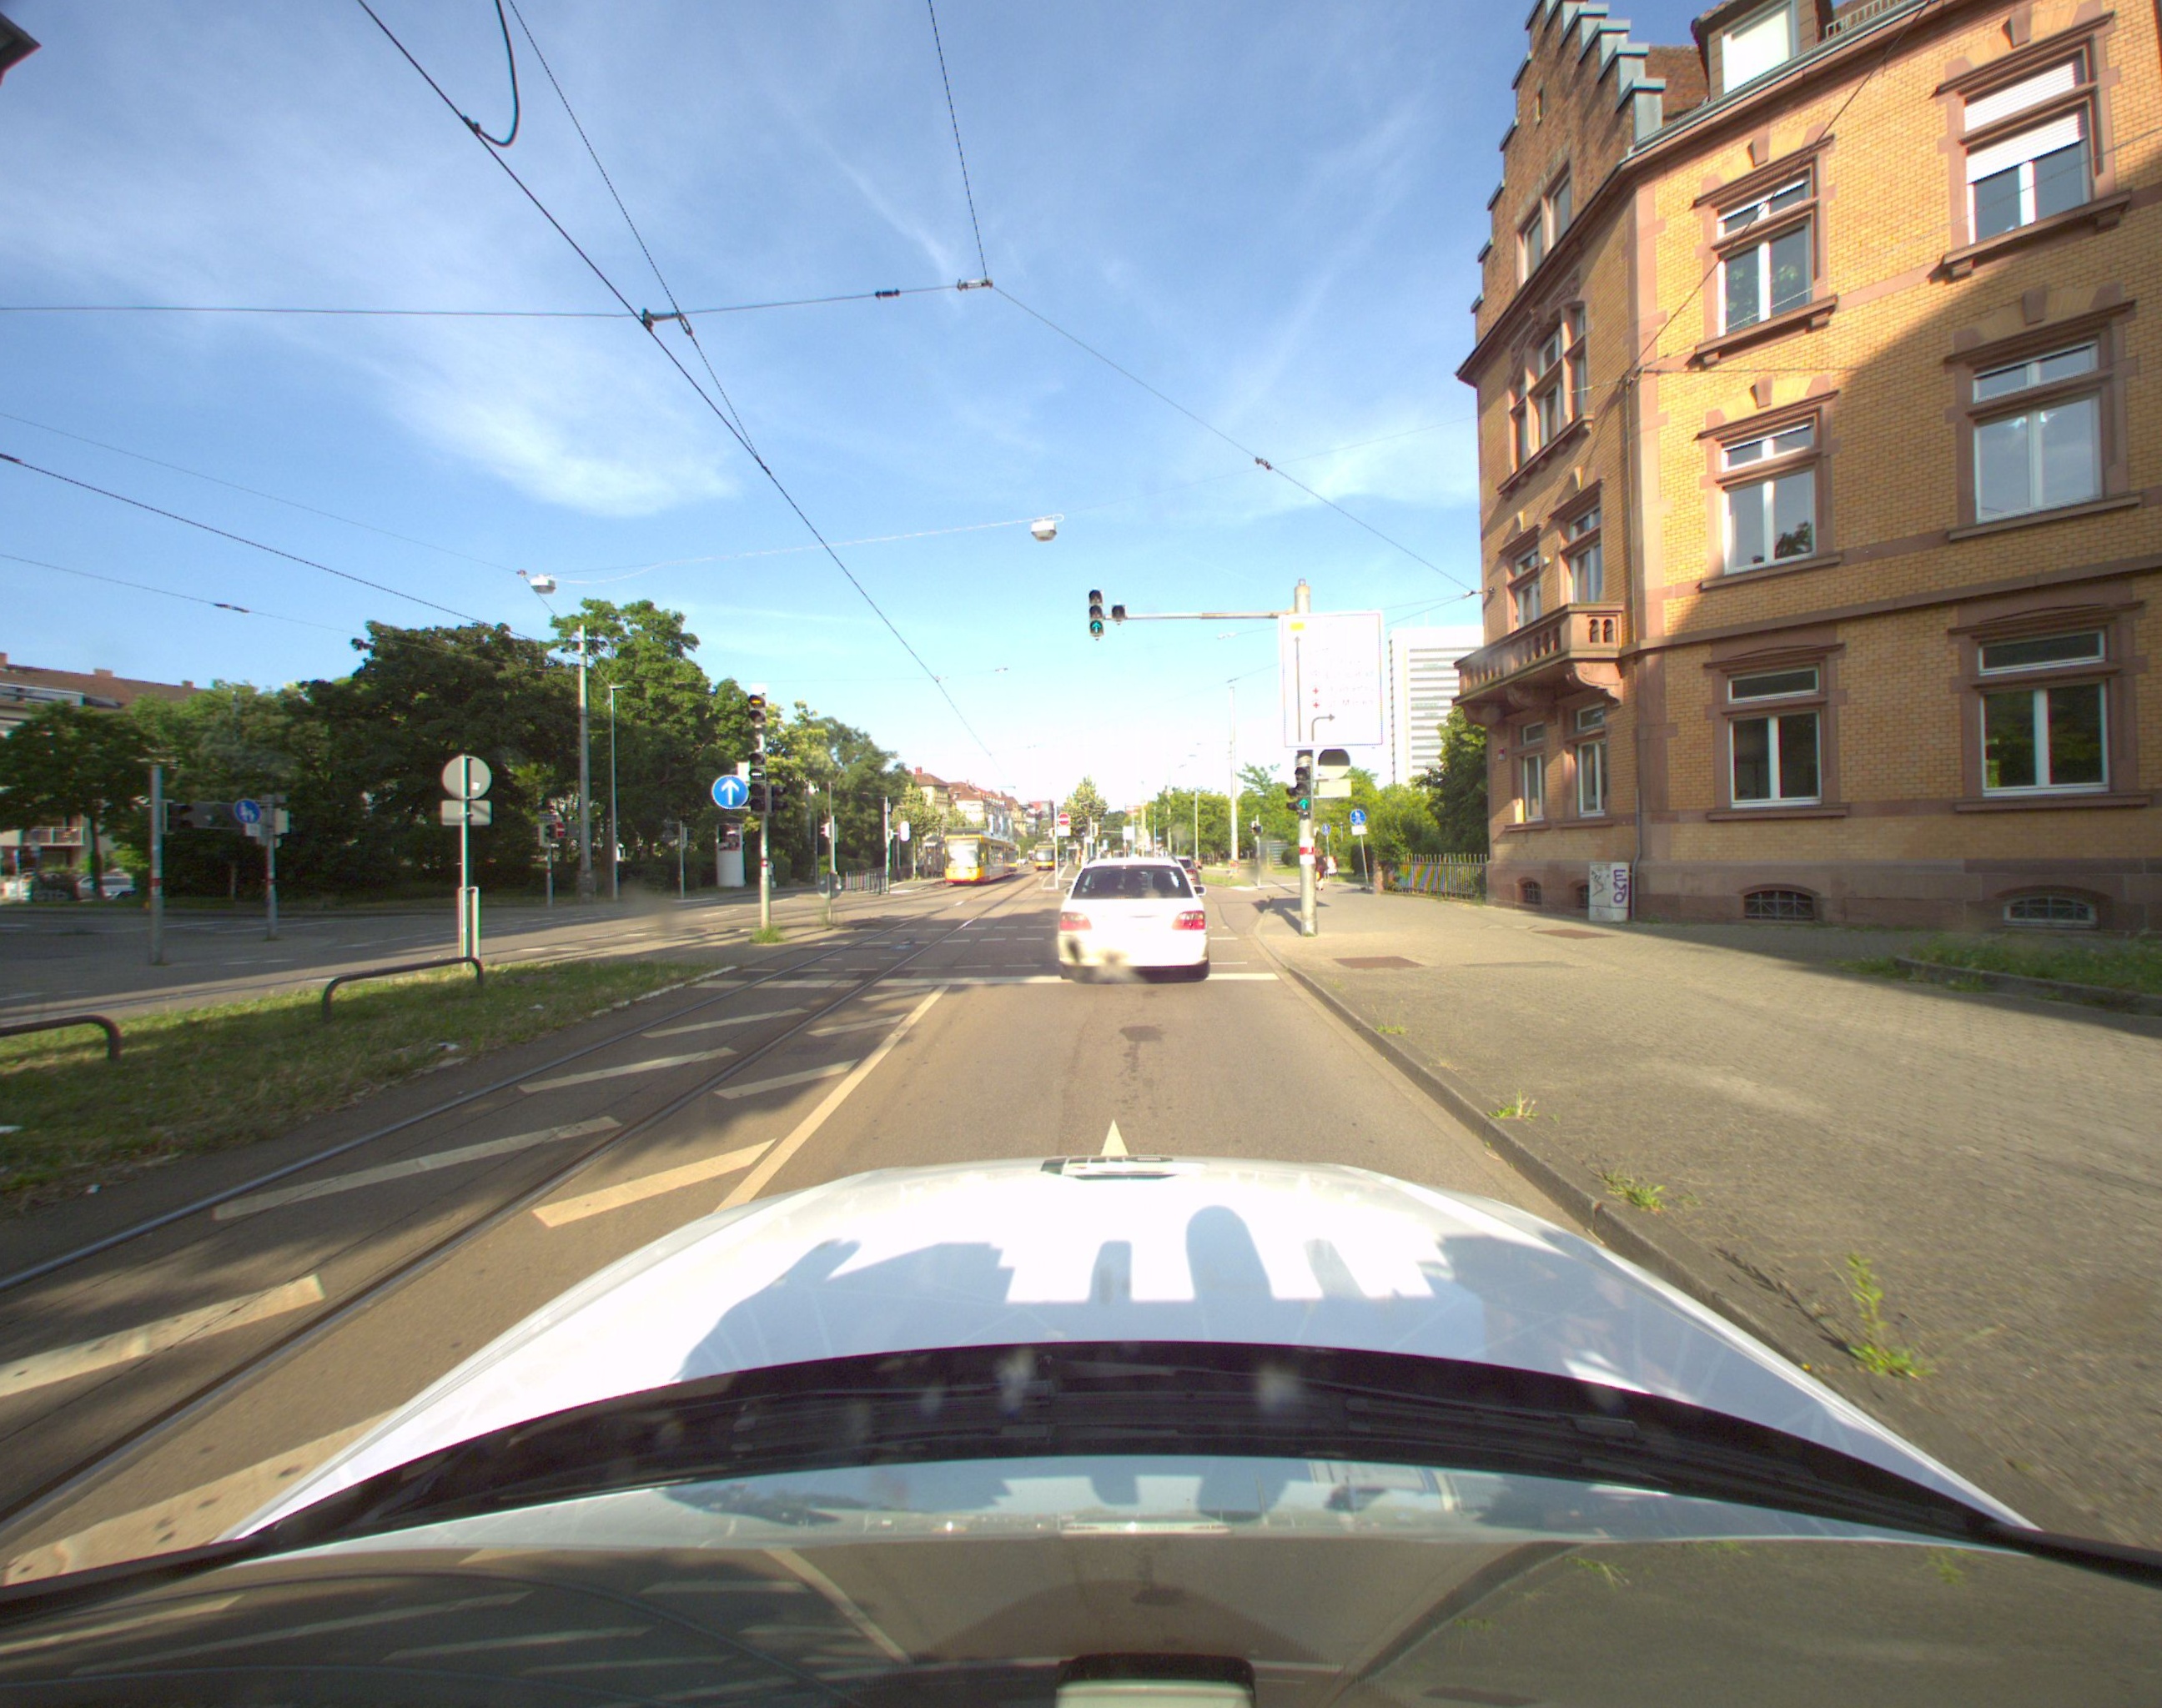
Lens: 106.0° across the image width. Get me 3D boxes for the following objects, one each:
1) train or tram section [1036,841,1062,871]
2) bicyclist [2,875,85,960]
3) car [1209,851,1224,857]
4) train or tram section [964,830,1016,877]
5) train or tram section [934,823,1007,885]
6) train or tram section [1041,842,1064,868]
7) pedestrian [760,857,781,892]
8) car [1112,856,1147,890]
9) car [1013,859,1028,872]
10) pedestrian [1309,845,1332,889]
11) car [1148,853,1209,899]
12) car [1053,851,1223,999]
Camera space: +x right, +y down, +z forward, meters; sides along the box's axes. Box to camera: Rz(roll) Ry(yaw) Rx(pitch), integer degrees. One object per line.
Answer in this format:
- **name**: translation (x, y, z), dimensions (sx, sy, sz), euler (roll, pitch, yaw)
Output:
- **train or tram section**: translation (-3.924, 0.214, 101.678), dimensions (2.841, 3.479, 13.196), euler (0, 0, 0)
- **bicyclist**: translation (-20.903, 1.257, 16.416), dimensions (0.764, 1.642, 0.798), euler (-2, 0, 19)
- **car**: translation (39.274, -0.052, 235.695), dimensions (3.959, 1.651, 2.007), euler (-1, 0, 13)
- **train or tram section**: translation (-7.299, -0.053, 67.422), dimensions (3.153, 3.479, 14.461), euler (0, 0, -2)
- **train or tram section**: translation (-6.867, -0.020, 52.971), dimensions (3.153, 3.479, 14.522), euler (0, 0, -2)
- **train or tram section**: translation (-3.876, 0.118, 114.651), dimensions (2.841, 3.479, 13.195), euler (0, 0, 0)
- **pedestrian**: translation (-17.575, 1.155, 46.128), dimensions (1.004, 1.909, 0.705), euler (0, 0, -14)
- **car**: translation (2.618, 0.983, 43.770), dimensions (1.779, 1.690, 4.004), euler (0, 0, 4)
- **car**: translation (-12.910, 2.432, 174.025), dimensions (2.588, 2.735, 7.466), euler (0, 0, -1)
- **pedestrian**: translation (9.531, 0.504, 32.391), dimensions (0.612, 1.692, 0.549), euler (-6, 0, 3)
- **car**: translation (3.547, 0.766, 30.270), dimensions (2.024, 1.605, 4.004), euler (0, 0, 3)
- **car**: translation (0.664, 0.760, 10.761), dimensions (1.752, 1.503, 4.001), euler (-3, 0, 1)
